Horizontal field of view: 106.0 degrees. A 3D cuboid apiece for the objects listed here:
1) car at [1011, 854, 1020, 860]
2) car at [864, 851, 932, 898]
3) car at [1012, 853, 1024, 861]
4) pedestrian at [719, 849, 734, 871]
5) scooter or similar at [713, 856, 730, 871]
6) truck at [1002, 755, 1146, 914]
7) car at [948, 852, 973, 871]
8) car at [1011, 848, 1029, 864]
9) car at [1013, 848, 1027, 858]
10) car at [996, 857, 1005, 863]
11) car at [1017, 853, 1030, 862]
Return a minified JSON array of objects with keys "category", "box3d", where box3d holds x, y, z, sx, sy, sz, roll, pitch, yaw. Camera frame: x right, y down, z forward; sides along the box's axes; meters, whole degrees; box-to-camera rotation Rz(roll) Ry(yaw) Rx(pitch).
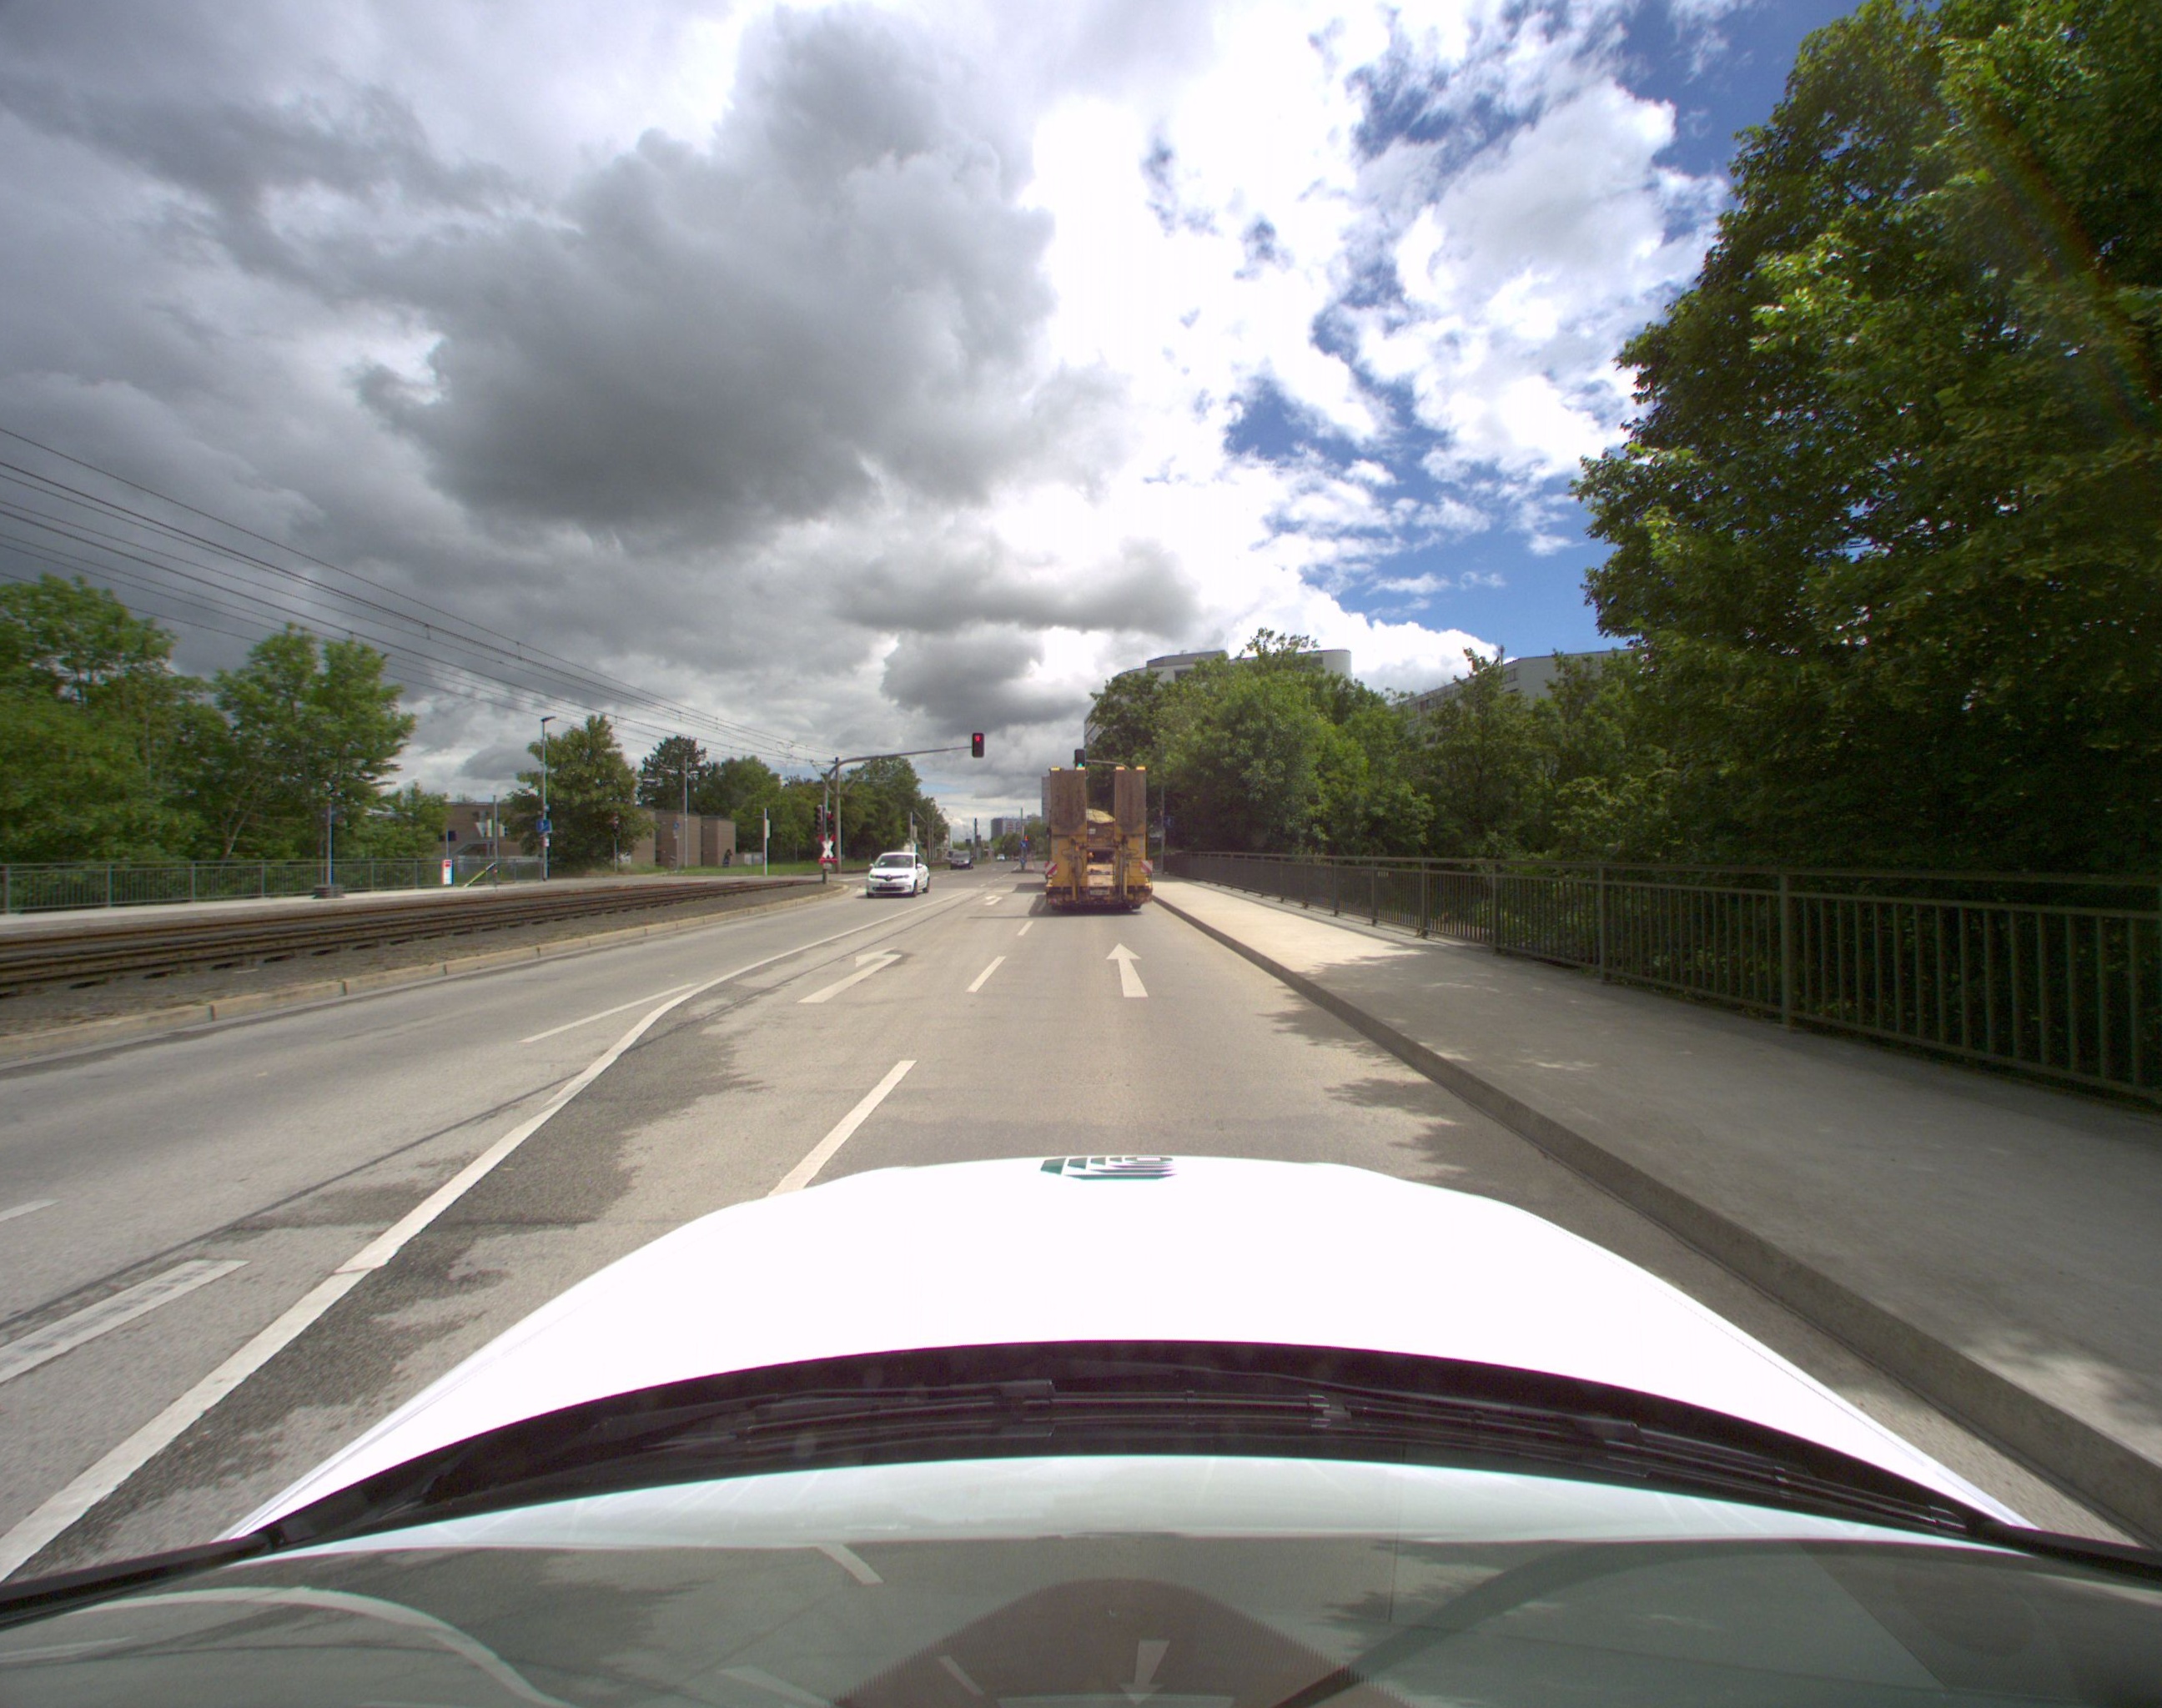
[{"category":"car","box3d":[-13.002,0.595,161.485,1.780,1.271,4.340,-1,0,-3]},{"category":"car","box3d":[-6.430,0.682,28.920,1.588,1.527,3.654,-1,0,-1]},{"category":"car","box3d":[-12.124,0.565,157.275,1.988,1.618,3.997,1,0,-2]},{"category":"pedestrian","box3d":[-29.020,0.490,66.695,0.798,1.811,0.809,1,0,1]},{"category":"scooter or similar","box3d":[-29.040,0.739,65.828,0.887,1.184,0.972,1,0,0]},{"category":"truck","box3d":[0.160,-0.462,25.316,3.302,3.651,12.571,1,0,3]},{"category":"car","box3d":[-10.414,0.597,70.694,1.780,1.570,4.340,-1,0,-3]},{"category":"car","box3d":[-7.408,0.239,99.734,1.988,1.925,3.997,1,0,-2]},{"category":"car","box3d":[-9.159,-0.113,122.767,1.988,1.420,3.997,1,0,-2]},{"category":"car","box3d":[-18.000,1.266,183.038,1.780,1.271,4.340,-1,0,-3]},{"category":"car","box3d":[-9.323,0.584,132.758,1.988,1.420,3.997,1,0,-2]}]
